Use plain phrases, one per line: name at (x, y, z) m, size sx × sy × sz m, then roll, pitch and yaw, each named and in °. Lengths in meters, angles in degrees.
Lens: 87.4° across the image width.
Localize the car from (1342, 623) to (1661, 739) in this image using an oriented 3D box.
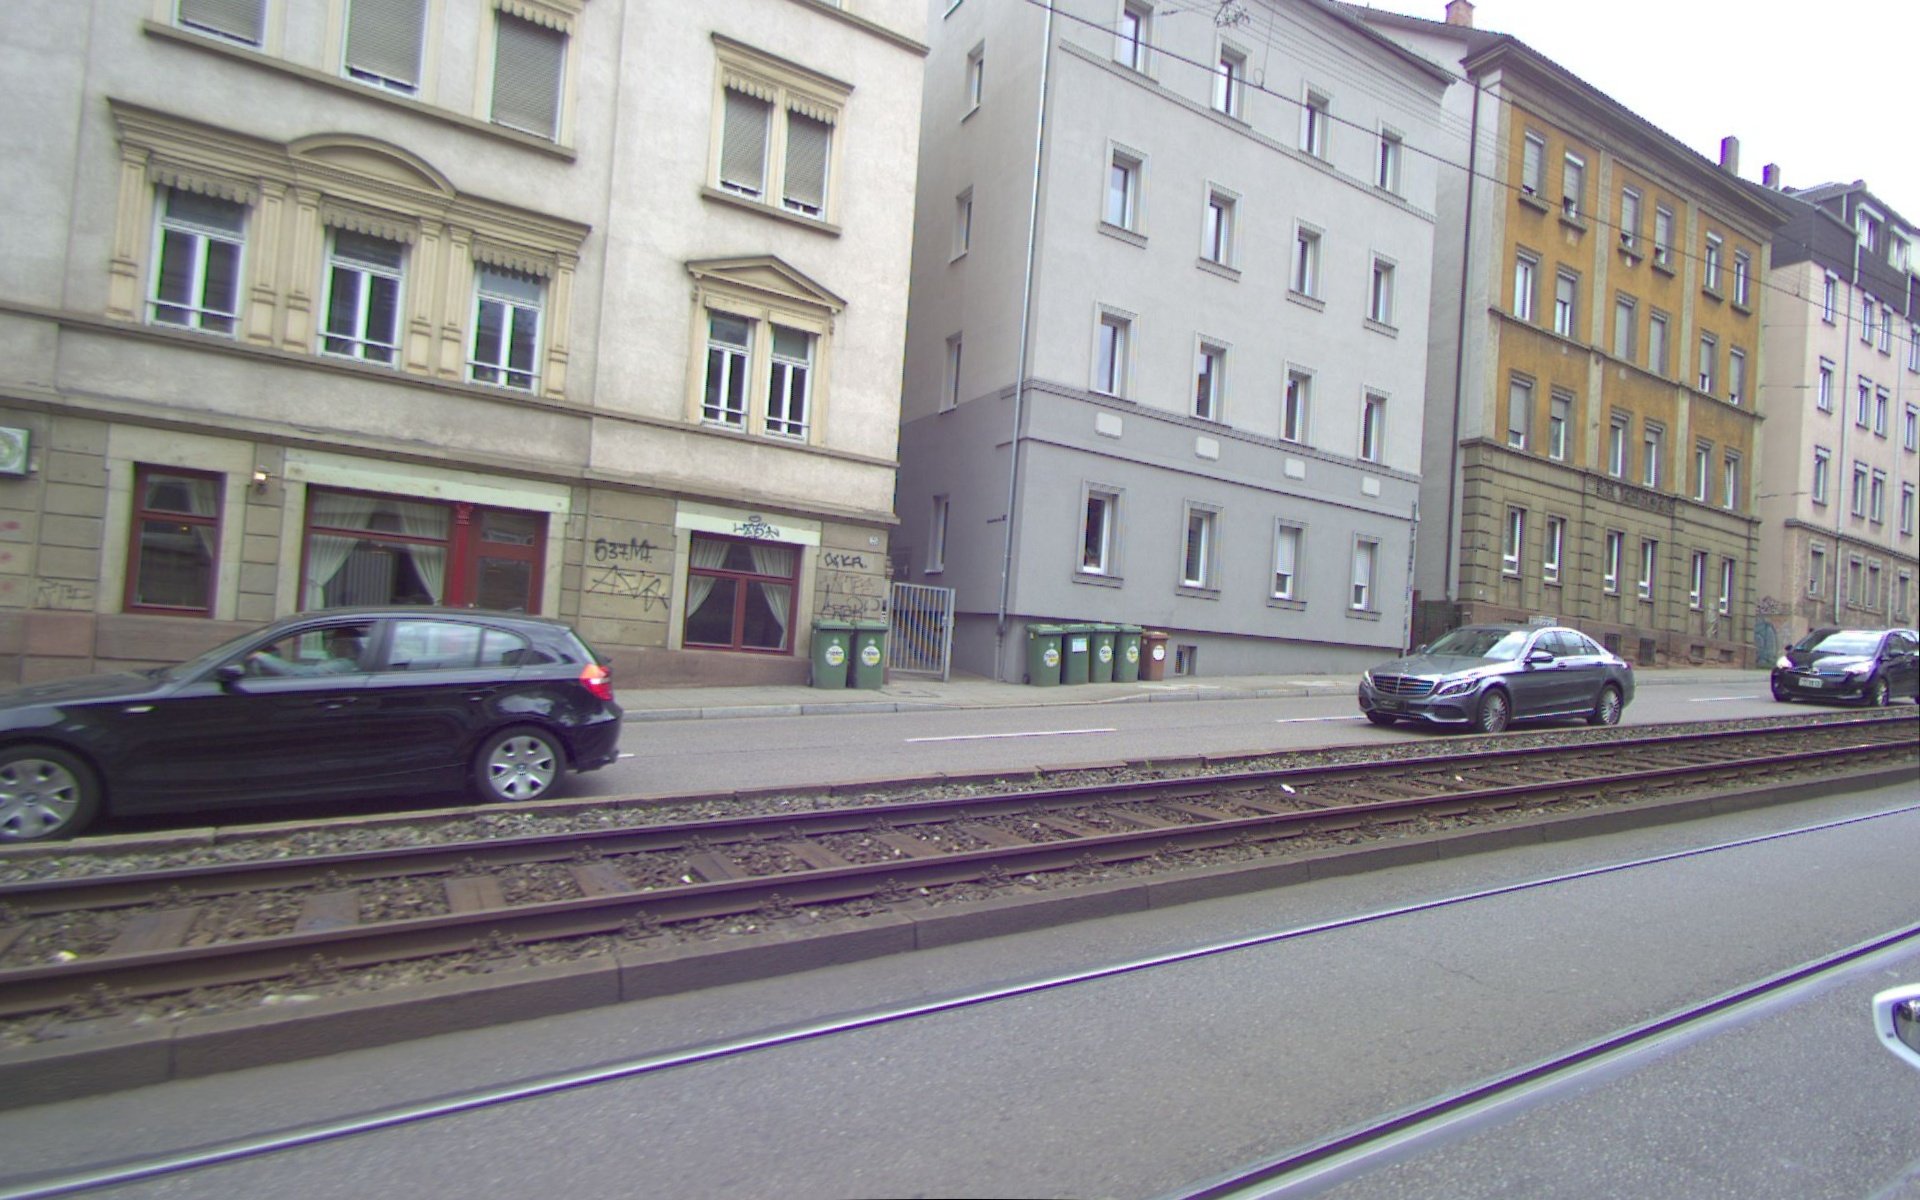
car at (7.730, 1.062, 14.218) m, size 4.709 × 1.379 × 1.803 m, roll 2°, pitch -1°, yaw -31°

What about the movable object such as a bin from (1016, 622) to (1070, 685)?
movable object such as a bin at (1.481, 0.956, 18.049) m, size 0.663 × 1.088 × 0.724 m, roll 1°, pitch 0°, yaw -30°

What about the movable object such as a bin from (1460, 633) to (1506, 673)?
movable object such as a bin at (13.105, 1.310, 25.176) m, size 0.645 × 0.960 × 0.775 m, roll 1°, pitch 0°, yaw -30°

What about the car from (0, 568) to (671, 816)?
car at (-4.381, 0.550, 7.207) m, size 4.114 × 1.382 × 1.821 m, roll 2°, pitch -1°, yaw -30°

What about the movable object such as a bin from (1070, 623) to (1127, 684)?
movable object such as a bin at (2.569, 0.983, 18.673) m, size 0.689 × 1.088 × 0.821 m, roll 1°, pitch 0°, yaw -30°

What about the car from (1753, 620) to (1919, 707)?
car at (18.282, 1.258, 20.696) m, size 3.923 × 1.617 × 1.735 m, roll 2°, pitch -1°, yaw -30°

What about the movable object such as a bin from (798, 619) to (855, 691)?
movable object such as a bin at (-2.110, 0.862, 15.889) m, size 0.668 × 1.088 × 0.684 m, roll 1°, pitch 0°, yaw -30°

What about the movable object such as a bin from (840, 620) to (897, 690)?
movable object such as a bin at (-1.480, 0.880, 16.213) m, size 0.673 × 1.088 × 0.714 m, roll 1°, pitch 0°, yaw -30°

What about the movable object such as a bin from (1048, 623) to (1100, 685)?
movable object such as a bin at (2.074, 0.972, 18.314) m, size 0.599 × 1.088 × 0.739 m, roll 1°, pitch 0°, yaw -30°

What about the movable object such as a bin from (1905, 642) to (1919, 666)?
movable object such as a bin at (38.356, 2.168, 40.166) m, size 0.668 × 0.923 × 0.626 m, roll 1°, pitch 3°, yaw -30°

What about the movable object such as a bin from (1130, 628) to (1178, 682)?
movable object such as a bin at (3.754, 1.059, 19.481) m, size 0.668 × 0.998 × 0.619 m, roll 1°, pitch 0°, yaw -30°

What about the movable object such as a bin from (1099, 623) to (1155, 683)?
movable object such as a bin at (3.157, 1.002, 19.033) m, size 0.668 × 1.088 × 0.821 m, roll 1°, pitch 0°, yaw -30°
